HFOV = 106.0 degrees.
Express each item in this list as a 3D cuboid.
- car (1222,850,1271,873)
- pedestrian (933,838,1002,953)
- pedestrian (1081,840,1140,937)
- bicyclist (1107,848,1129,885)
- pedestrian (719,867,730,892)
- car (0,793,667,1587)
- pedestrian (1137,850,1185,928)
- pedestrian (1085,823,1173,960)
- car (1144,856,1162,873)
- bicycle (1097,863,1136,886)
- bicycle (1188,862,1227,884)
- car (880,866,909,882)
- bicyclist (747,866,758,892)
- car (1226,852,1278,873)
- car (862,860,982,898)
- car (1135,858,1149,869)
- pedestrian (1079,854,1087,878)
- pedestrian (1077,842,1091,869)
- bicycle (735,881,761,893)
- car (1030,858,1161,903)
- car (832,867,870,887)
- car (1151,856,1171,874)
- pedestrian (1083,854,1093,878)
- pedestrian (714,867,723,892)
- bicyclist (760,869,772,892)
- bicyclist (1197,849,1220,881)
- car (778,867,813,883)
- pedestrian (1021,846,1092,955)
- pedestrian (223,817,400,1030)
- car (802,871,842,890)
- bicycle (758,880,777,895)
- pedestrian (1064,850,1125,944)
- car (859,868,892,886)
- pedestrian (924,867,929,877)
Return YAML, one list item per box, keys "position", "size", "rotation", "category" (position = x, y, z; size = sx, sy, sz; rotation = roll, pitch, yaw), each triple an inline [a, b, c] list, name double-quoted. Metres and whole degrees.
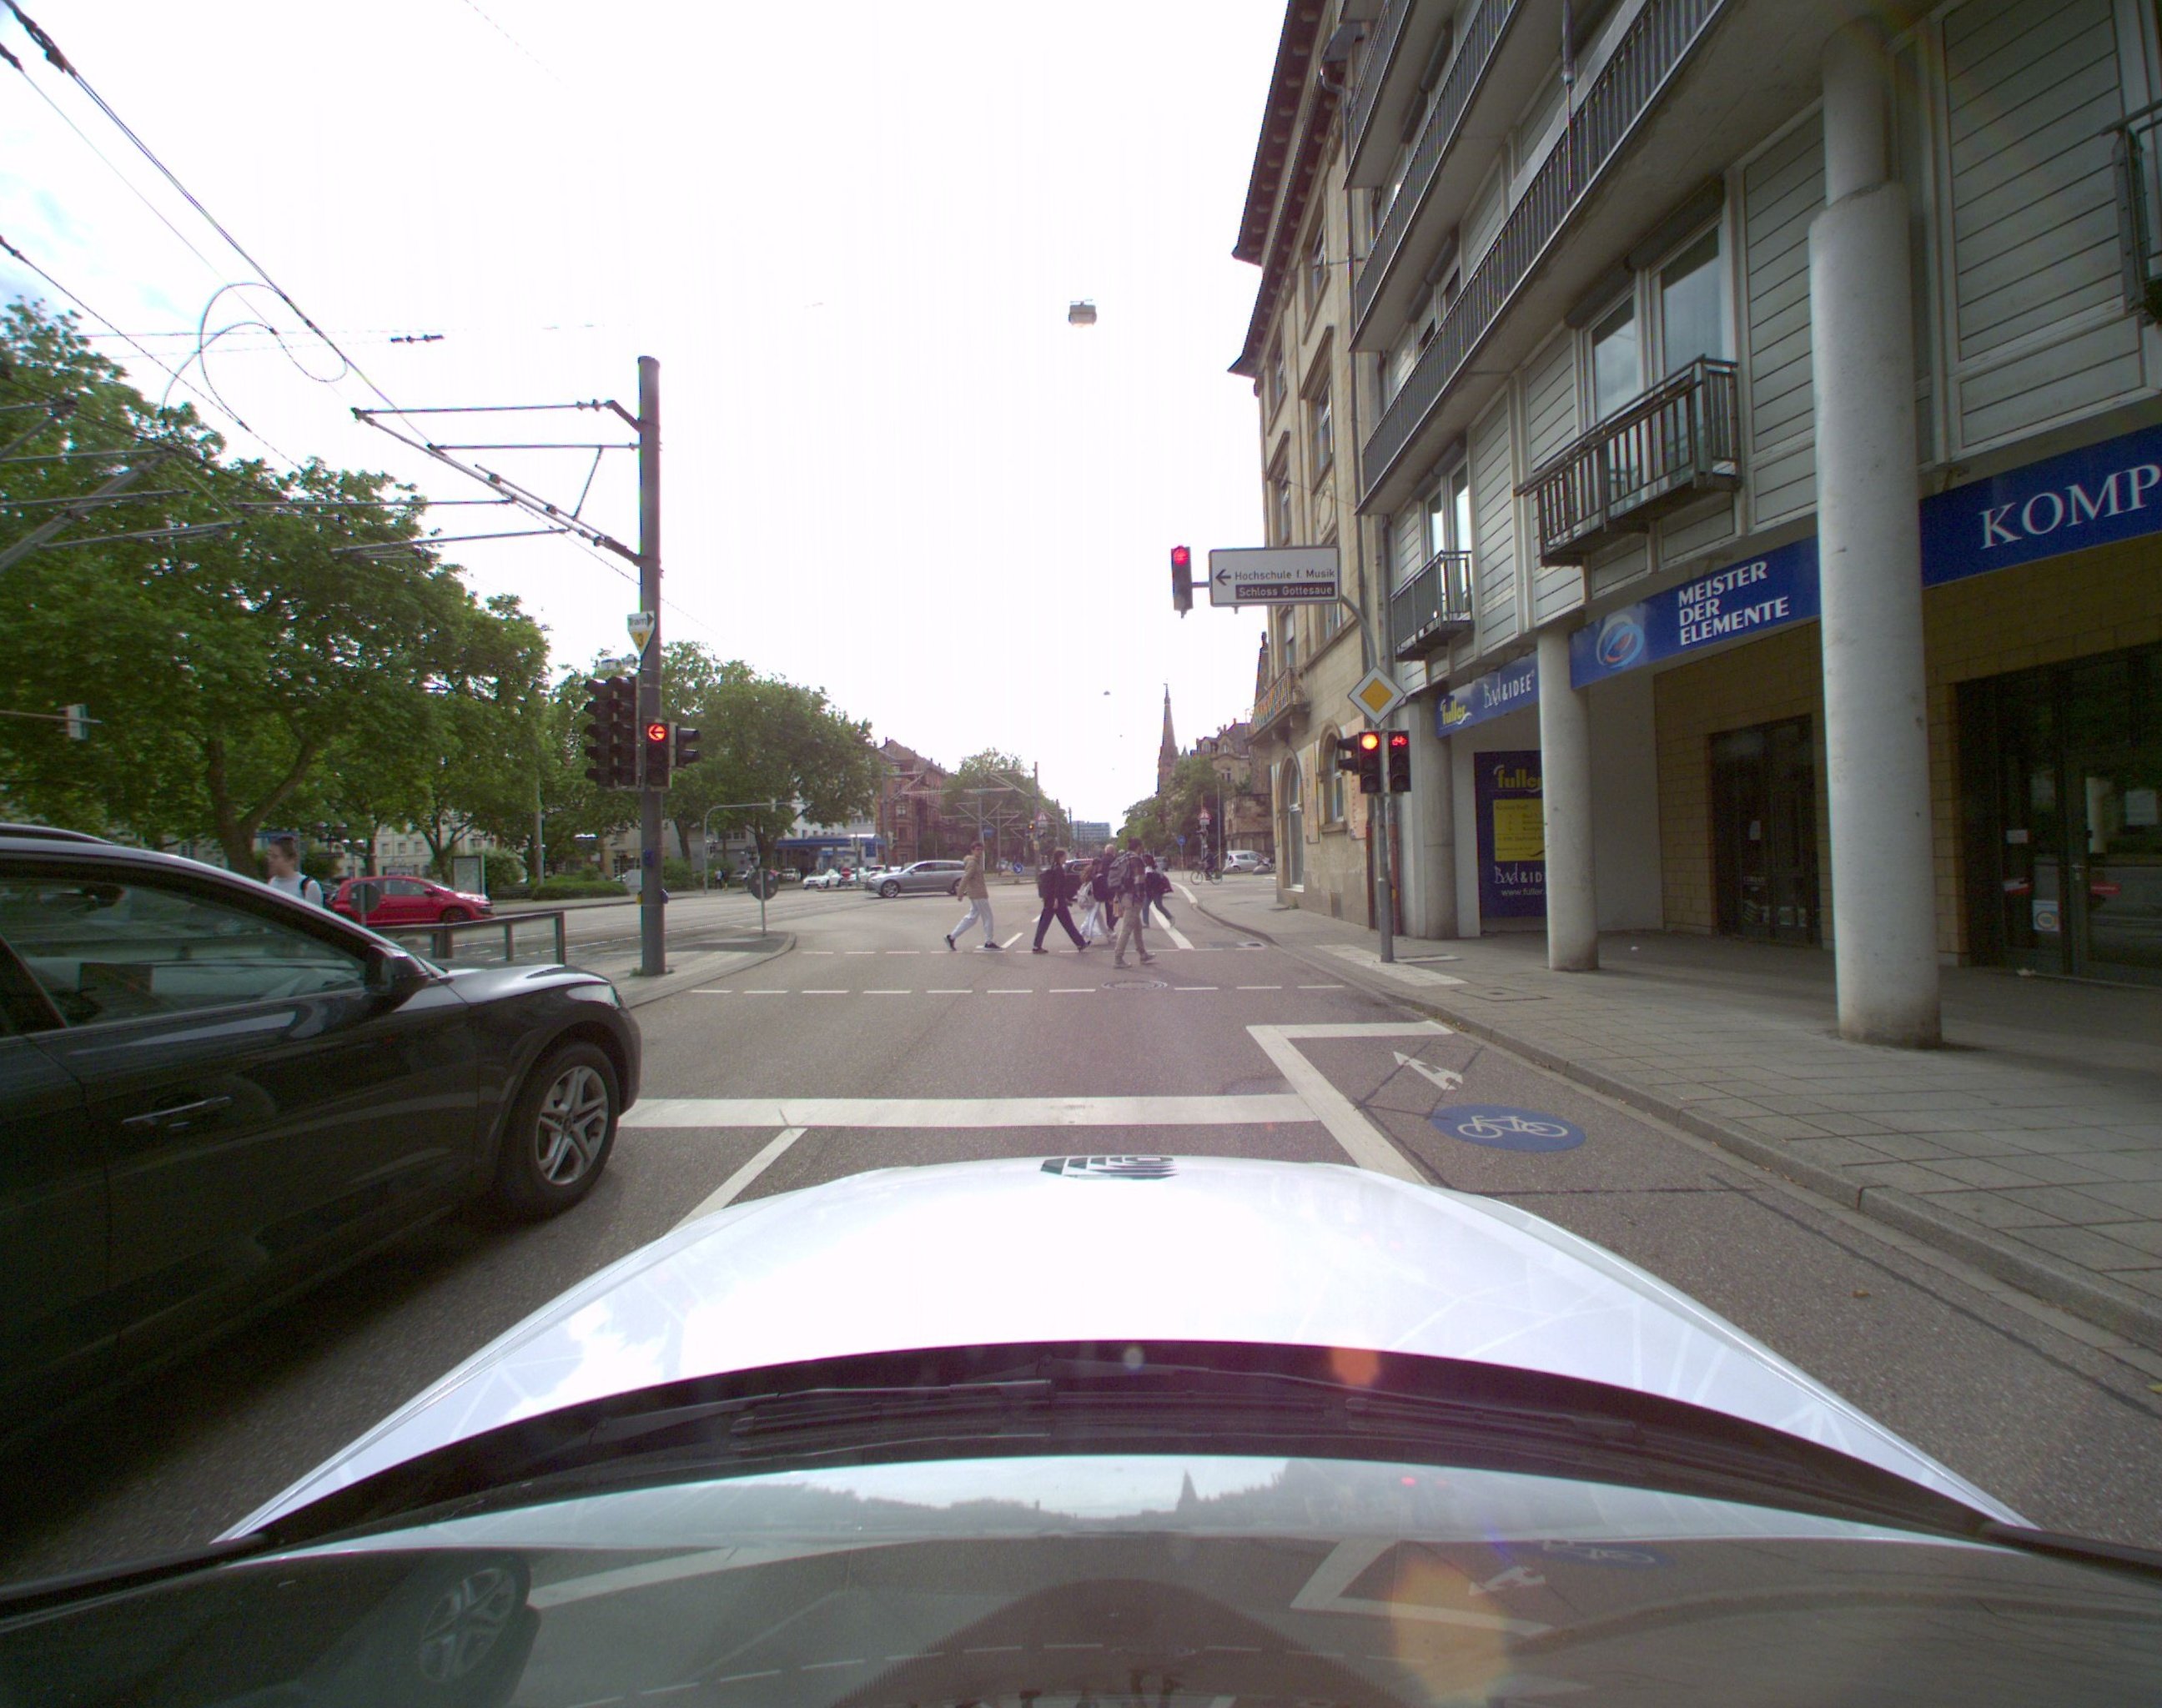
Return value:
- position: [14.025, 0.624, 69.021]
  size: [3.785, 1.904, 2.001]
  rotation: [0, -1, 1]
  category: "car"
- position: [-1.851, 0.657, 13.271]
  size: [1.015, 1.813, 0.580]
  rotation: [0, -1, -22]
  category: "pedestrian"
- position: [0.567, 0.641, 15.575]
  size: [0.906, 1.784, 0.651]
  rotation: [-1, -1, 39]
  category: "pedestrian"
- position: [1.874, 0.627, 40.886]
  size: [0.970, 1.819, 0.527]
  rotation: [0, -1, -27]
  category: "bicyclist"
- position: [-25.056, 1.789, 57.236]
  size: [0.370, 1.784, 0.555]
  rotation: [-1, -1, 33]
  category: "pedestrian"
- position: [-3.119, 0.695, 2.025]
  size: [1.873, 1.601, 4.358]
  rotation: [-1, -1, 1]
  category: "car"
- position: [1.774, 0.752, 18.084]
  size: [0.663, 1.680, 0.874]
  rotation: [-1, -1, 40]
  category: "pedestrian"
- position: [0.671, 0.495, 11.199]
  size: [0.620, 1.779, 1.141]
  rotation: [-2, -2, 39]
  category: "pedestrian"
- position: [8.819, 1.330, 100.510]
  size: [1.986, 2.014, 4.001]
  rotation: [0, -1, 1]
  category: "car"
- position: [1.789, 1.016, 40.831]
  size: [1.910, 1.142, 0.623]
  rotation: [0, -1, -28]
  category: "bicycle"
- position: [6.675, 0.979, 43.013]
  size: [1.943, 1.136, 0.731]
  rotation: [0, -1, -19]
  category: "bicycle"
- position: [-18.466, 1.969, 80.771]
  size: [1.887, 1.557, 3.837]
  rotation: [0, -1, 2]
  category: "car"
- position: [-22.617, 1.692, 56.003]
  size: [0.528, 1.784, 0.472]
  rotation: [-1, -1, 21]
  category: "bicyclist"
- position: [13.755, 0.686, 65.613]
  size: [3.785, 1.601, 2.001]
  rotation: [0, -1, 1]
  category: "car"
- position: [-6.648, 1.009, 34.072]
  size: [4.734, 1.510, 1.826]
  rotation: [0, -1, -20]
  category: "car"
- position: [9.707, 1.540, 129.321]
  size: [1.986, 1.607, 4.165]
  rotation: [-3, -1, 1]
  category: "car"
- position: [0.121, 0.795, 53.503]
  size: [0.544, 1.537, 0.465]
  rotation: [0, -1, -3]
  category: "pedestrian"
- position: [0.172, 0.111, 50.967]
  size: [0.848, 1.654, 0.508]
  rotation: [0, -1, -1]
  category: "pedestrian"
- position: [-22.903, 2.269, 55.980]
  size: [1.665, 0.773, 0.659]
  rotation: [-1, -1, 22]
  category: "bicycle"
- position: [0.537, 0.919, 29.637]
  size: [4.455, 1.510, 1.822]
  rotation: [0, -1, -26]
  category: "car"
- position: [-18.814, 1.830, 66.752]
  size: [1.887, 1.557, 3.837]
  rotation: [0, -1, 2]
  category: "car"
- position: [8.923, 1.235, 91.070]
  size: [1.986, 2.014, 4.001]
  rotation: [0, -1, 1]
  category: "car"
- position: [0.463, 0.784, 52.943]
  size: [0.651, 1.537, 0.465]
  rotation: [0, -1, -3]
  category: "pedestrian"
- position: [-25.516, 1.791, 57.339]
  size: [0.370, 1.784, 0.452]
  rotation: [-1, -1, 34]
  category: "pedestrian"
- position: [-21.643, 1.817, 56.024]
  size: [0.585, 1.567, 0.619]
  rotation: [0, -1, 1]
  category: "bicyclist"
- position: [6.741, 0.575, 43.076]
  size: [1.041, 1.683, 0.641]
  rotation: [0, -1, -19]
  category: "bicyclist"
- position: [-28.747, 2.123, 82.192]
  size: [1.986, 1.530, 4.001]
  rotation: [0, -1, 2]
  category: "car"
- position: [-0.380, 0.709, 12.983]
  size: [0.620, 1.652, 1.003]
  rotation: [-1, -1, 39]
  category: "pedestrian"
- position: [-6.337, 0.547, 6.747]
  size: [0.751, 1.661, 0.730]
  rotation: [0, -1, 1]
  category: "pedestrian"
- position: [-19.142, 1.915, 60.343]
  size: [1.628, 1.325, 4.001]
  rotation: [0, -1, 2]
  category: "car"
- position: [-21.678, 2.310, 56.357]
  size: [0.520, 1.017, 1.937]
  rotation: [0, -1, 2]
  category: "bicycle"
- position: [0.236, 0.737, 14.317]
  size: [0.693, 1.593, 0.836]
  rotation: [-1, -1, 39]
  category: "pedestrian"
- position: [-18.575, 2.067, 73.755]
  size: [1.887, 1.557, 3.837]
  rotation: [0, -1, 2]
  category: "car"
- position: [-21.929, 2.555, 115.657]
  size: [0.447, 1.460, 0.528]
  rotation: [-1, -1, 42]
  category: "pedestrian"
